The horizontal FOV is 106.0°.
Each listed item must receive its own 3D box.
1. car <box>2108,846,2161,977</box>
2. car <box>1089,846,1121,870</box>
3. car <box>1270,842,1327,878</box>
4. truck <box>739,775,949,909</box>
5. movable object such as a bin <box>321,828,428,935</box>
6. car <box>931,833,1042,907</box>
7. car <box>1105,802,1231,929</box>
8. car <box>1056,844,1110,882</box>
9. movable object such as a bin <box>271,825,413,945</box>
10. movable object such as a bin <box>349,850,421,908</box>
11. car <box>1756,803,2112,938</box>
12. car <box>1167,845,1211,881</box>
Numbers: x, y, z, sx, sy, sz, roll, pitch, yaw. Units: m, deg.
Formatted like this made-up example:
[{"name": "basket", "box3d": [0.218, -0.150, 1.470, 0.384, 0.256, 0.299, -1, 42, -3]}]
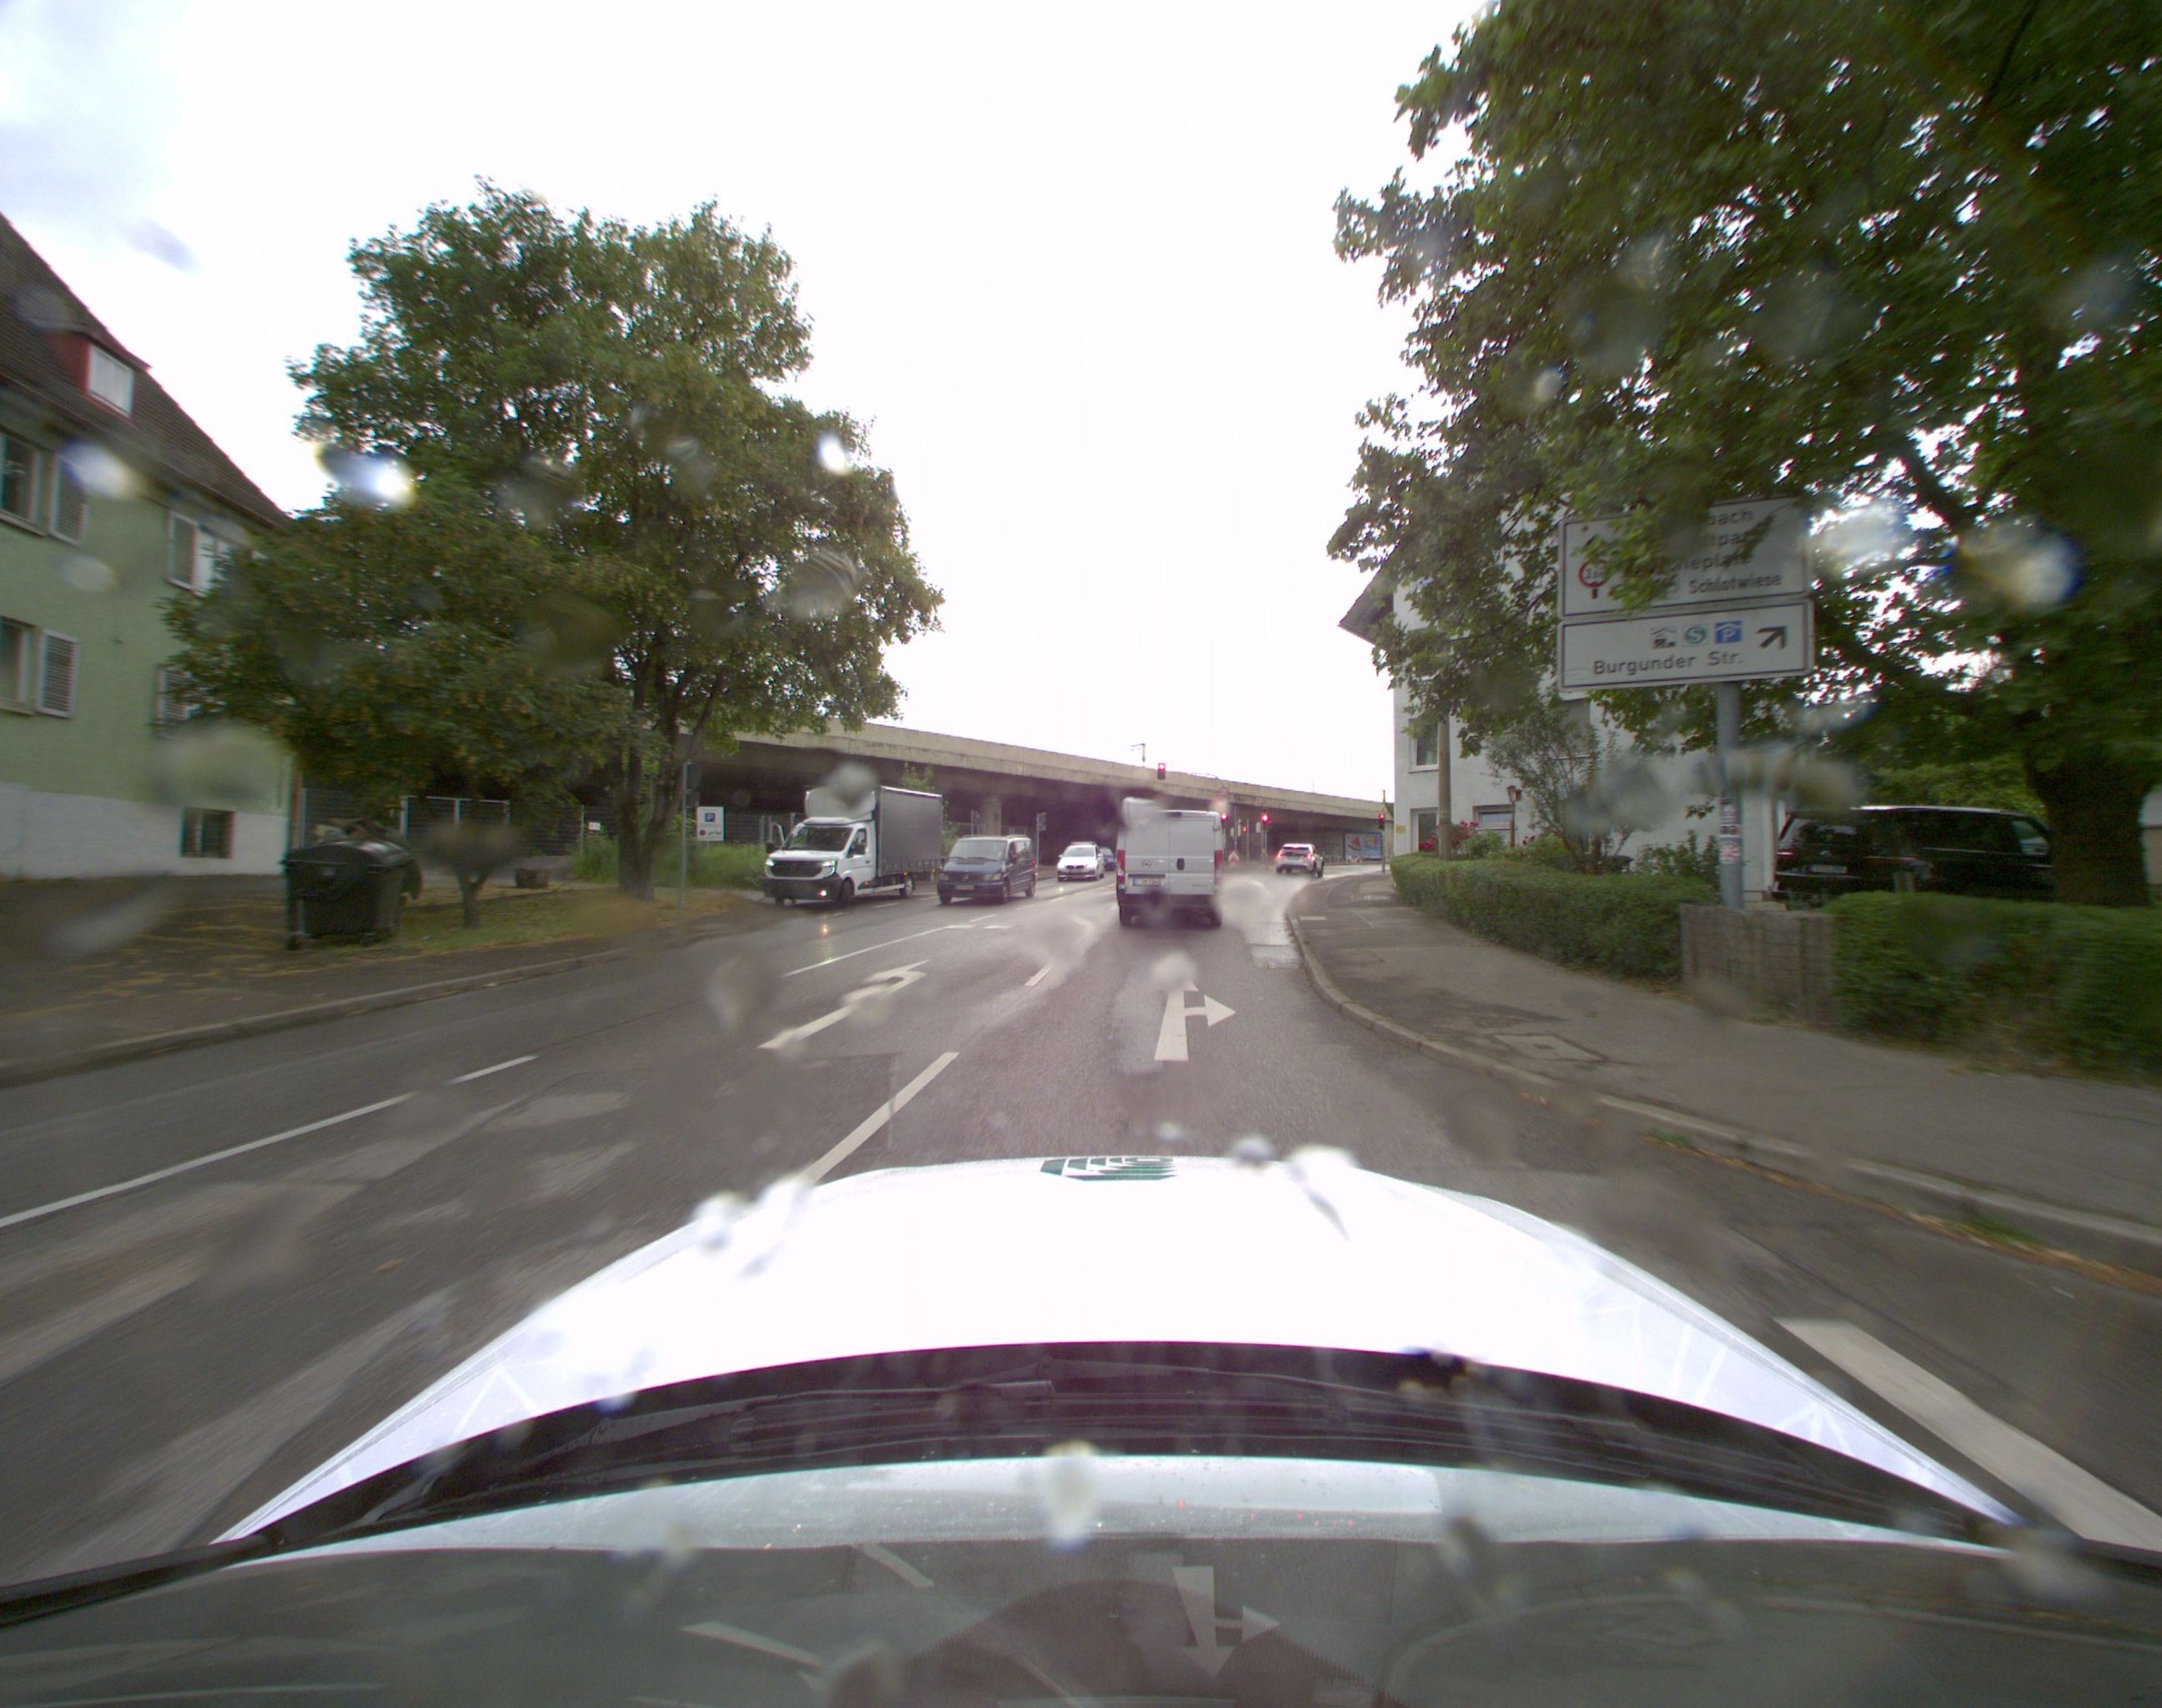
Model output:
[{"name": "car", "box3d": [15.106, 0.698, 9.679, 3.983, 1.580, 1.818, 0, 0, -7]}, {"name": "car", "box3d": [1.544, 0.204, 50.524, 1.589, 1.425, 3.705, 0, 1, 8]}, {"name": "car", "box3d": [10.168, 0.281, 37.857, 1.976, 1.549, 4.022, 0, -1, 24]}, {"name": "truck", "box3d": [-6.441, -0.302, 23.734, 2.594, 3.237, 7.799, 0, 0, 10]}, {"name": "movable object such as a bin", "box3d": [-10.930, 0.413, 12.660, 1.106, 1.437, 1.447, 4, 3, -39]}, {"name": "car", "box3d": [-2.610, 0.405, 23.695, 1.946, 1.931, 4.696, 0, 0, 10]}, {"name": "car", "box3d": [1.900, 0.168, 17.773, 2.293, 2.343, 5.292, 1, 1, 6]}, {"name": "car", "box3d": [0.157, 0.359, 37.763, 1.821, 1.578, 4.345, 1, 1, 8]}, {"name": "movable object such as a bin", "box3d": [-10.235, 0.413, 11.370, 1.300, 1.437, 1.447, 4, 3, -39]}, {"name": "movable object such as a bin", "box3d": [-11.839, 0.423, 13.868, 0.553, 0.957, 0.725, 0, -1, 9]}, {"name": "car", "box3d": [13.640, 0.230, 13.125, 4.404, 1.932, 1.992, 0, 0, -13]}, {"name": "car", "box3d": [5.620, 0.459, 42.007, 1.980, 1.729, 4.013, 0, -1, 12]}]
